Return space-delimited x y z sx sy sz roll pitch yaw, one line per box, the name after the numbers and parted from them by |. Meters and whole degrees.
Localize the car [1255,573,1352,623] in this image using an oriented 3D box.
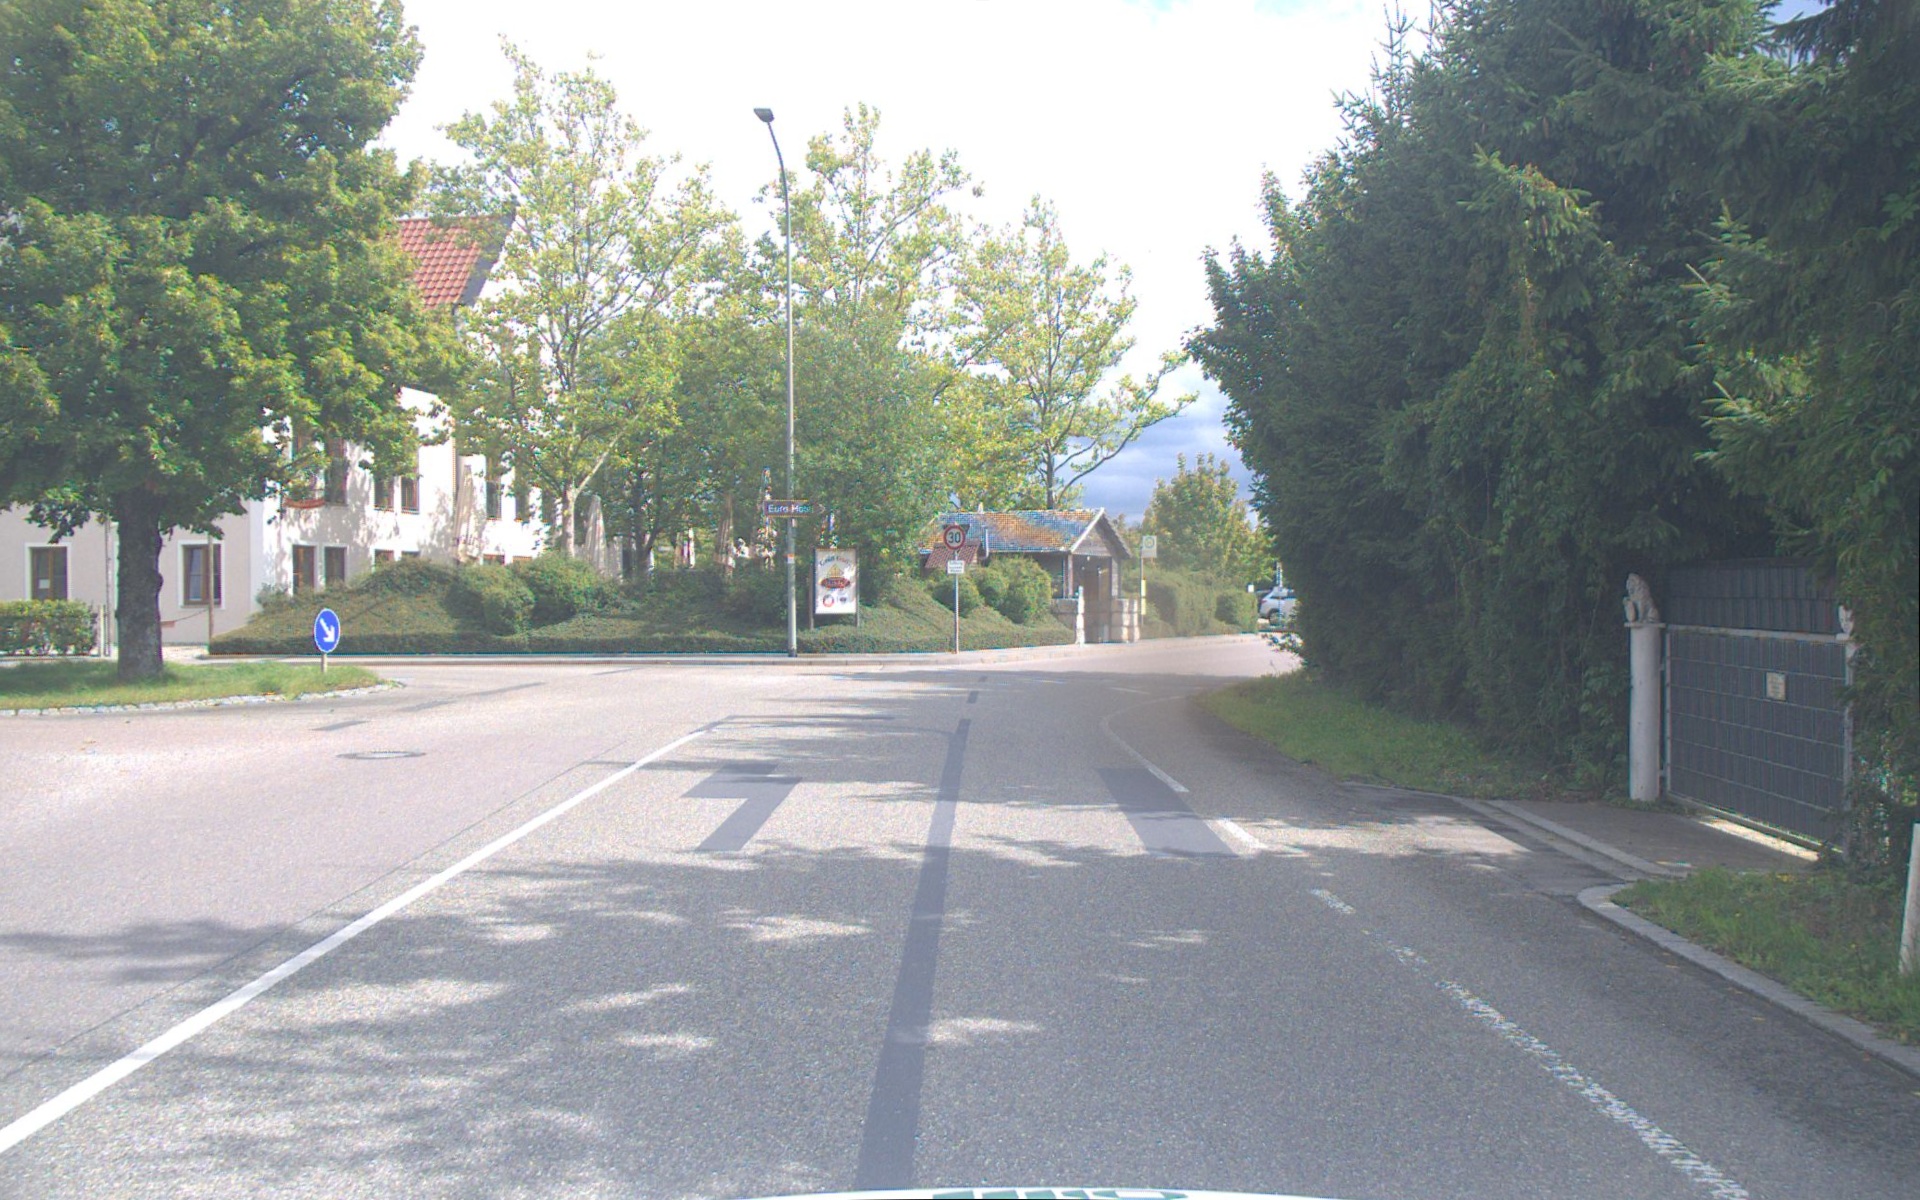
15.148 -0.093 72.901 3.905 2.161 1.961 0 0 22 | car
